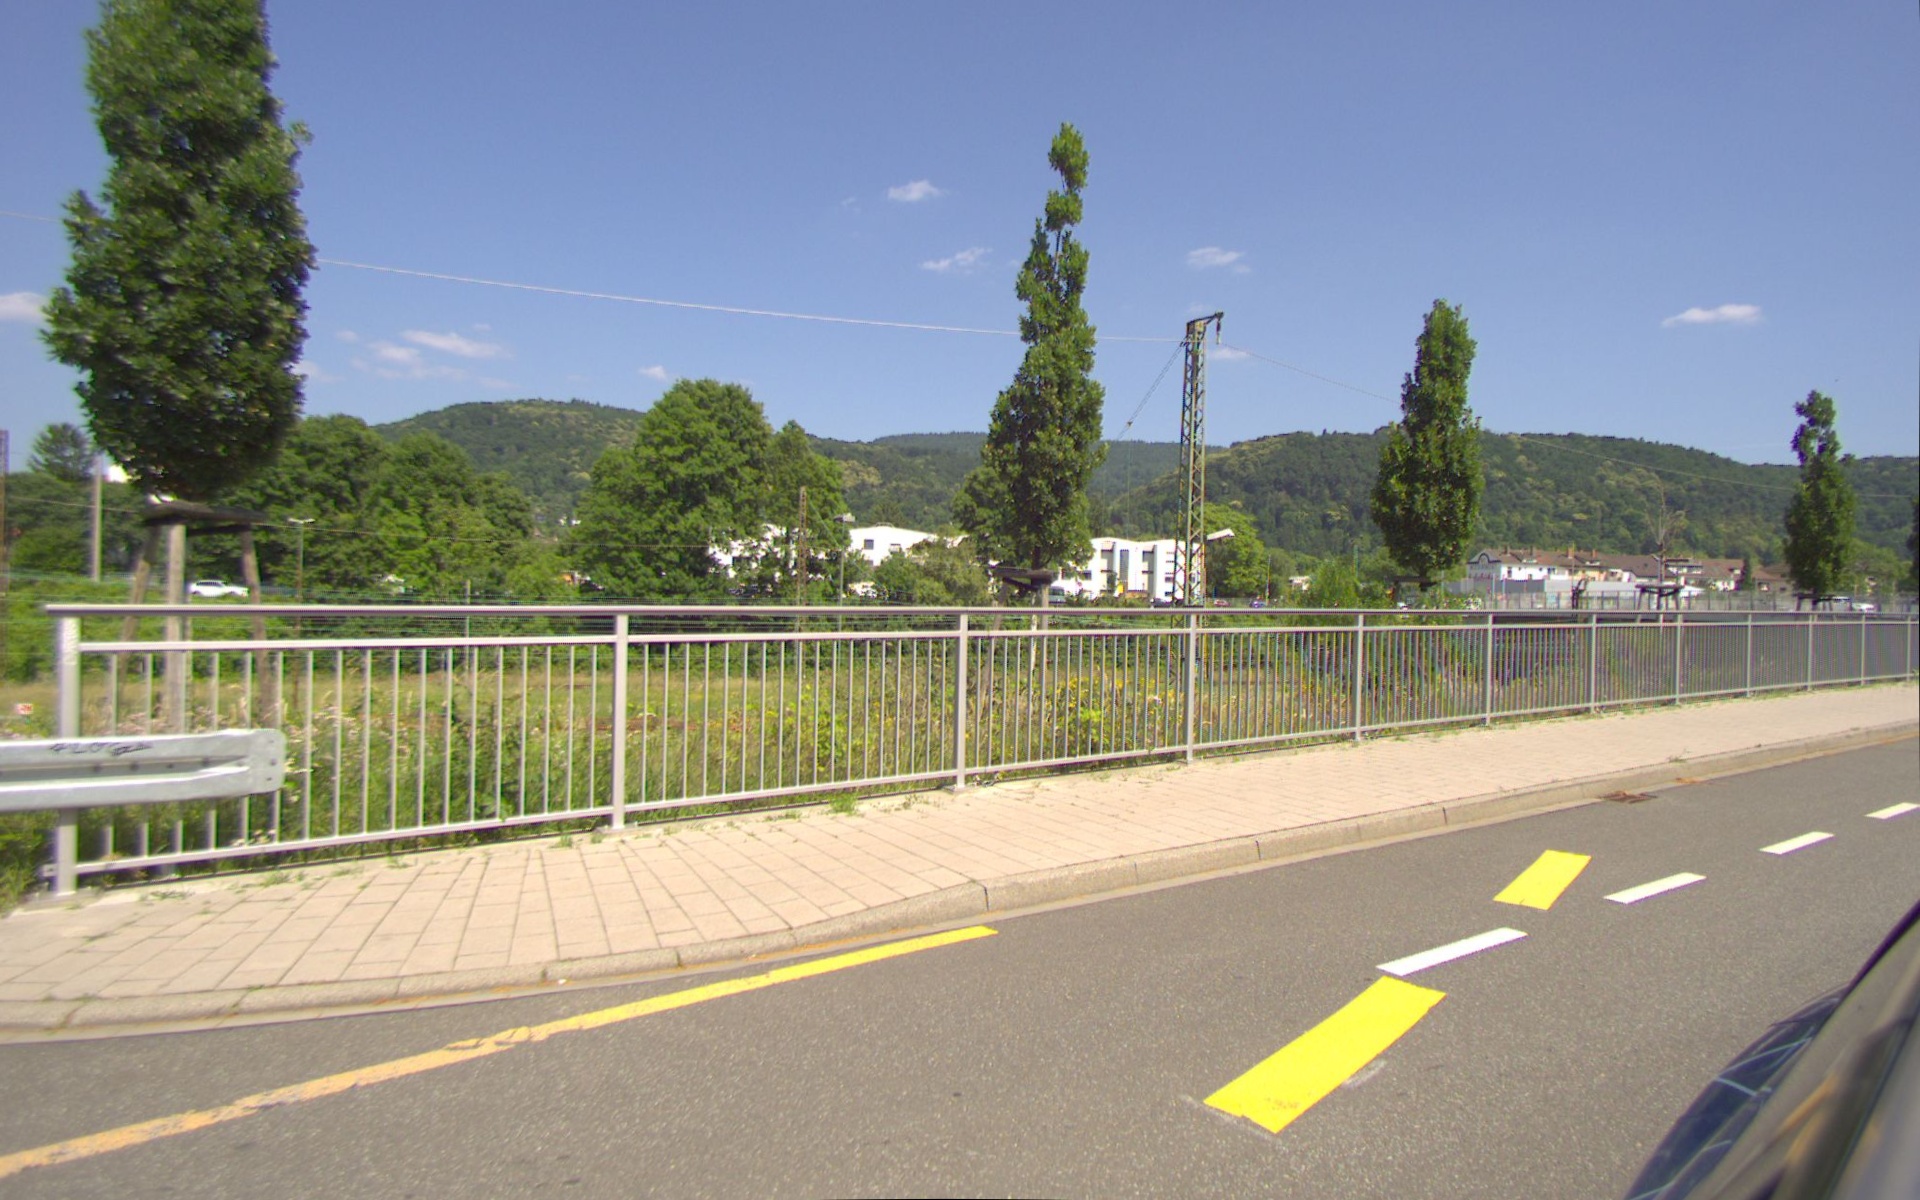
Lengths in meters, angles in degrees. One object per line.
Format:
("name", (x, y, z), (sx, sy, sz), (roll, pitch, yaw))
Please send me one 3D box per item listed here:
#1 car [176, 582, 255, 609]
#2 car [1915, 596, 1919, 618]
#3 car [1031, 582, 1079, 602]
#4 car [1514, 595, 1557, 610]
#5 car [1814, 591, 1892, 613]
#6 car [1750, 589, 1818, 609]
("car", (-60.926, -0.371, 82.888), (4.888, 2.139, 2.003), (1, 0, -27))
("car", (72.723, 0.560, 73.838), (1.702, 1.647, 4.445), (1, 0, -4))
("car", (10.545, -0.851, 112.195), (4.887, 2.139, 2.004), (1, 0, -25))
("car", (66.430, 0.314, 116.877), (1.701, 1.647, 4.449), (3, -1, -11))
("car", (71.445, 0.163, 81.055), (1.700, 1.647, 4.451), (1, 0, -15))
("car", (70.330, -0.089, 86.474), (1.700, 1.647, 4.451), (1, 0, -12))
